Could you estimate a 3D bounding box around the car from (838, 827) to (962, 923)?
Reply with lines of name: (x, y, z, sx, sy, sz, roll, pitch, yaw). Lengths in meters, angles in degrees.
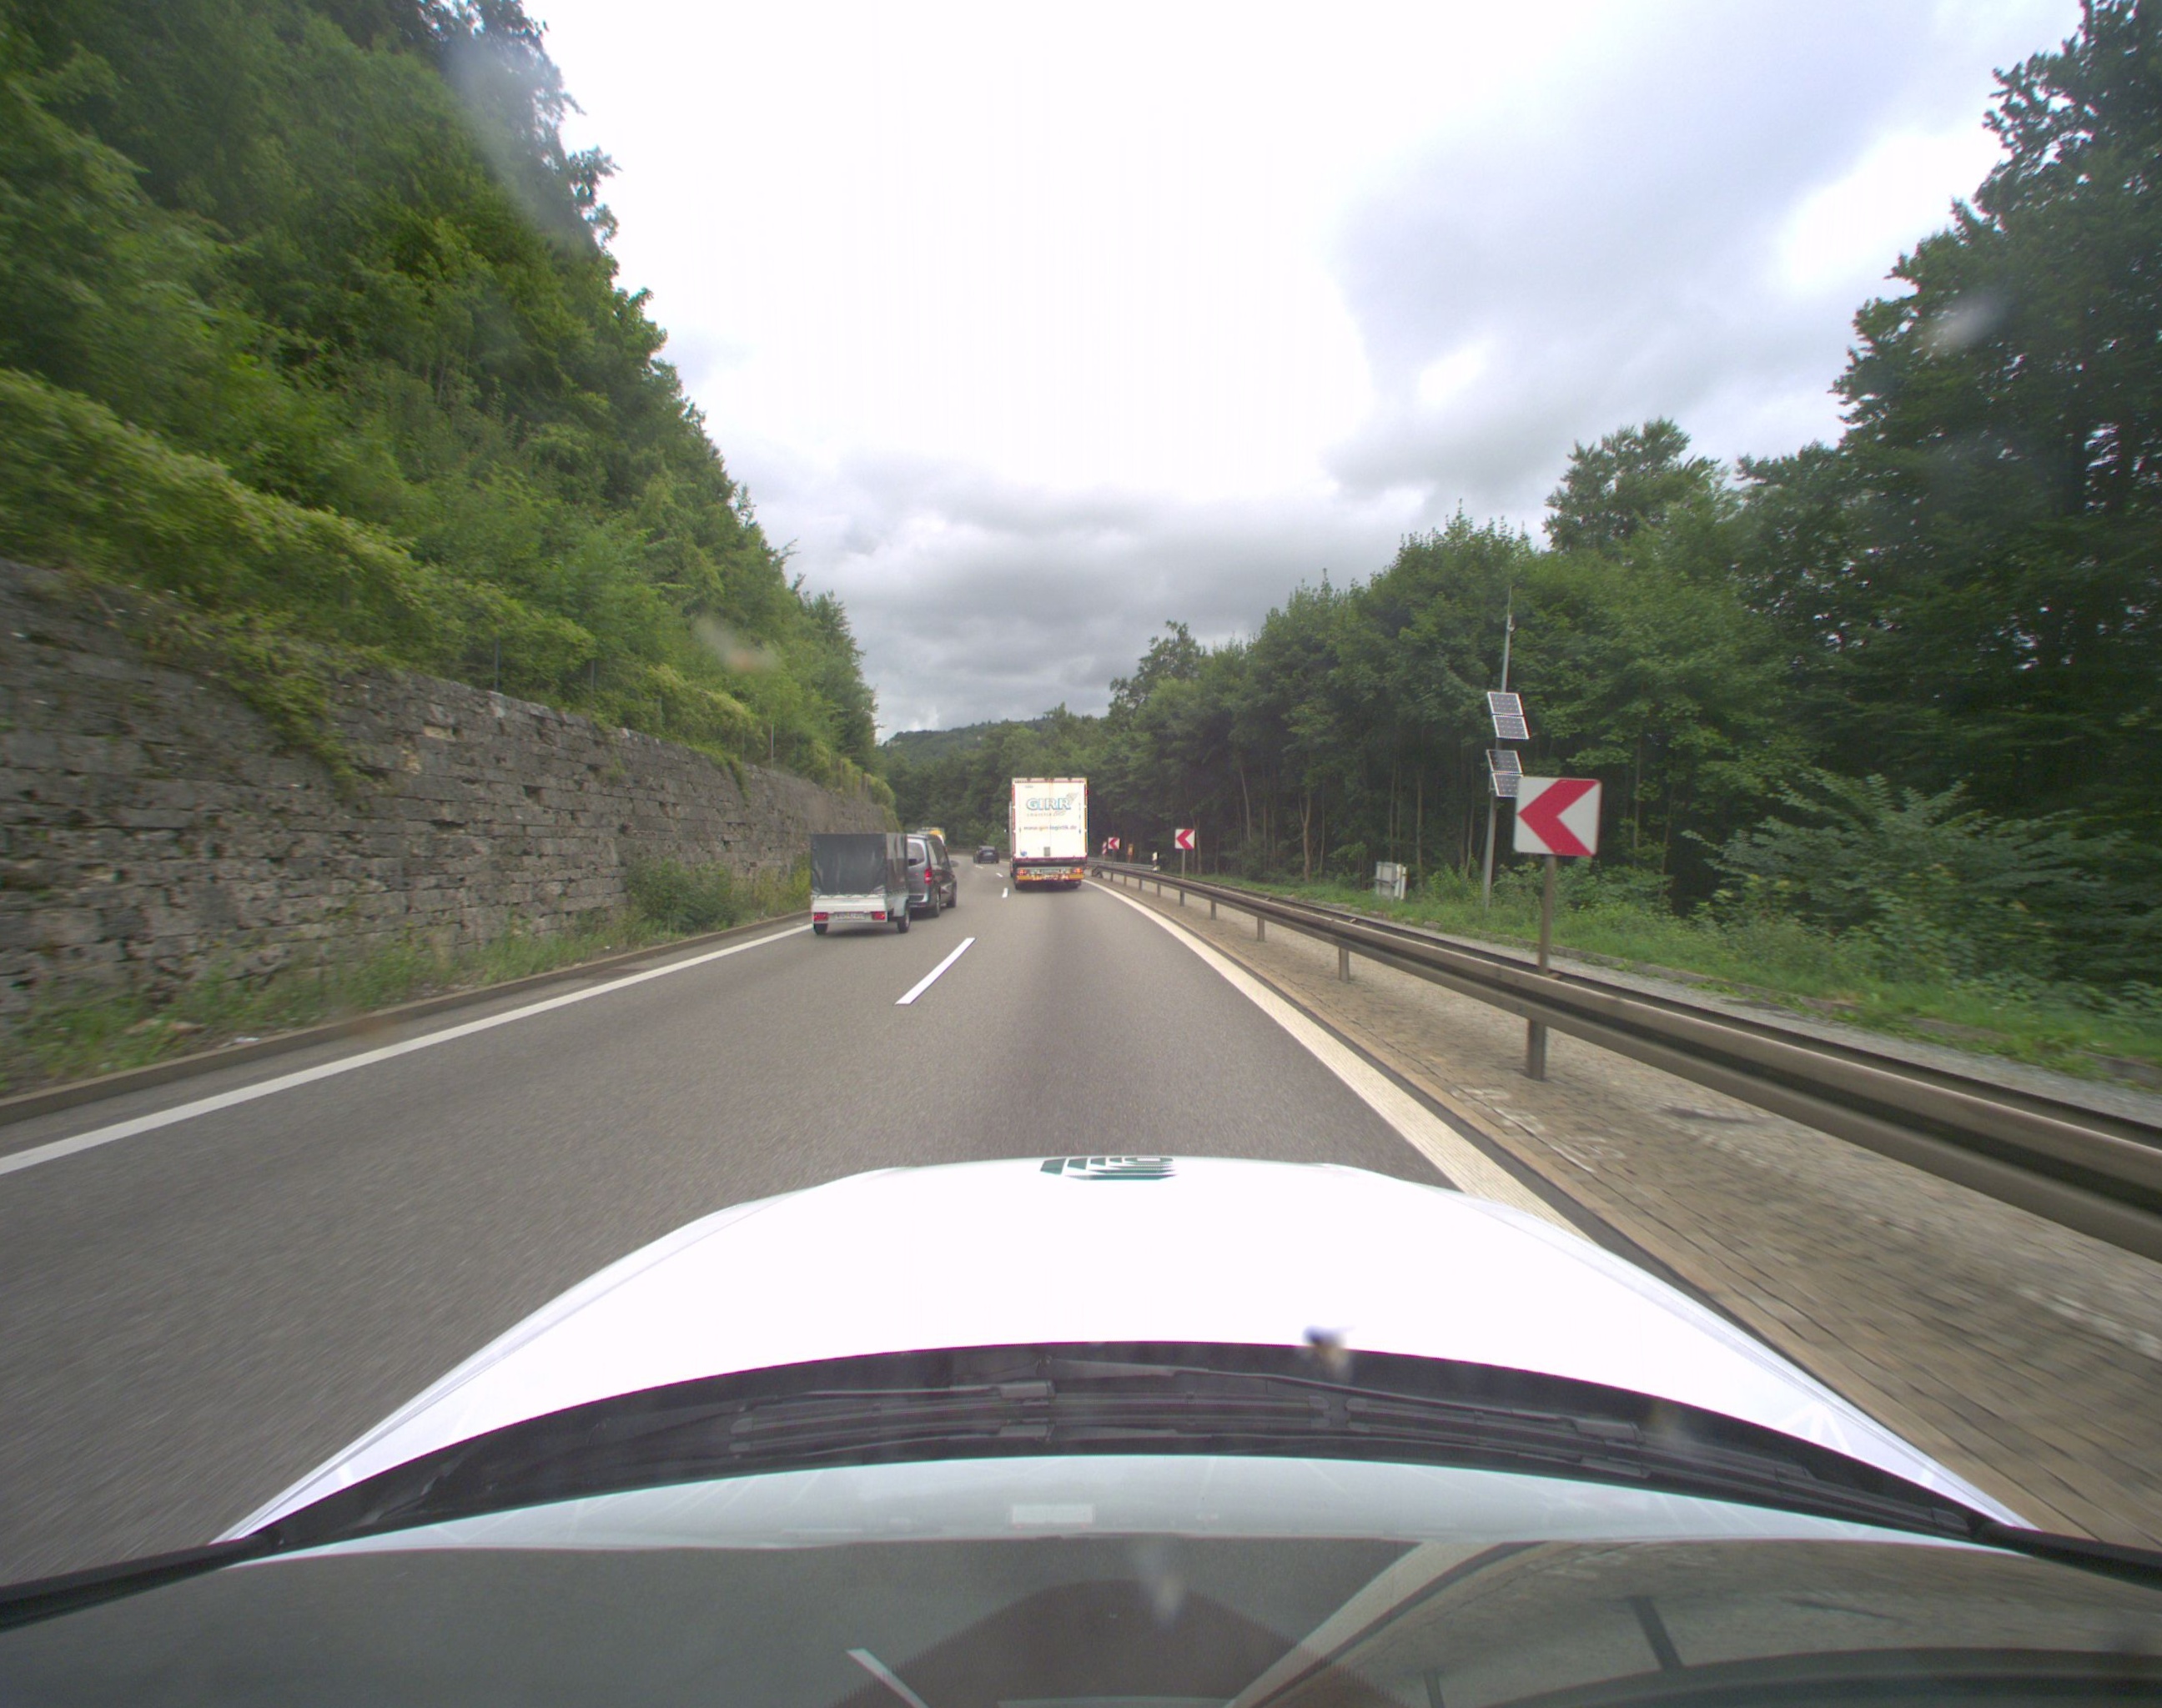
car: (-4.249, 0.420, 20.081, 1.988, 2.013, 5.536, -1, 0, -2)

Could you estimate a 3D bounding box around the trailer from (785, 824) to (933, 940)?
trailer: (-4.099, 0.465, 15.617, 1.966, 1.939, 3.428, -1, 0, -2)

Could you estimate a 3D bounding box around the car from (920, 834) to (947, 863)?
car: (-14.444, -0.590, 79.420, 1.993, 2.672, 6.900, 1, 0, -15)

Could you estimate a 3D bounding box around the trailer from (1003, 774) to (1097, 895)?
trailer: (-1.578, -0.845, 33.516, 3.053, 3.985, 12.116, 2, 2, -5)

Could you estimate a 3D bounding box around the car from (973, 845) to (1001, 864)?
car: (-8.553, 0.034, 73.837, 1.996, 1.662, 3.981, 1, 0, -14)

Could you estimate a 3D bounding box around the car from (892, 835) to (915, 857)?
car: (-22.499, -1.057, 103.087, 1.947, 2.672, 5.949, 1, 0, -21)

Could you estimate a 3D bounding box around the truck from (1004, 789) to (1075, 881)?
truck: (-2.171, -0.971, 39.911, 3.053, 3.985, 7.175, 2, 2, -5)

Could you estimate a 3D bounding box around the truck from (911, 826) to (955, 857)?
truck: (-20.294, -1.684, 110.638, 3.070, 3.986, 13.597, -2, 1, -22)
